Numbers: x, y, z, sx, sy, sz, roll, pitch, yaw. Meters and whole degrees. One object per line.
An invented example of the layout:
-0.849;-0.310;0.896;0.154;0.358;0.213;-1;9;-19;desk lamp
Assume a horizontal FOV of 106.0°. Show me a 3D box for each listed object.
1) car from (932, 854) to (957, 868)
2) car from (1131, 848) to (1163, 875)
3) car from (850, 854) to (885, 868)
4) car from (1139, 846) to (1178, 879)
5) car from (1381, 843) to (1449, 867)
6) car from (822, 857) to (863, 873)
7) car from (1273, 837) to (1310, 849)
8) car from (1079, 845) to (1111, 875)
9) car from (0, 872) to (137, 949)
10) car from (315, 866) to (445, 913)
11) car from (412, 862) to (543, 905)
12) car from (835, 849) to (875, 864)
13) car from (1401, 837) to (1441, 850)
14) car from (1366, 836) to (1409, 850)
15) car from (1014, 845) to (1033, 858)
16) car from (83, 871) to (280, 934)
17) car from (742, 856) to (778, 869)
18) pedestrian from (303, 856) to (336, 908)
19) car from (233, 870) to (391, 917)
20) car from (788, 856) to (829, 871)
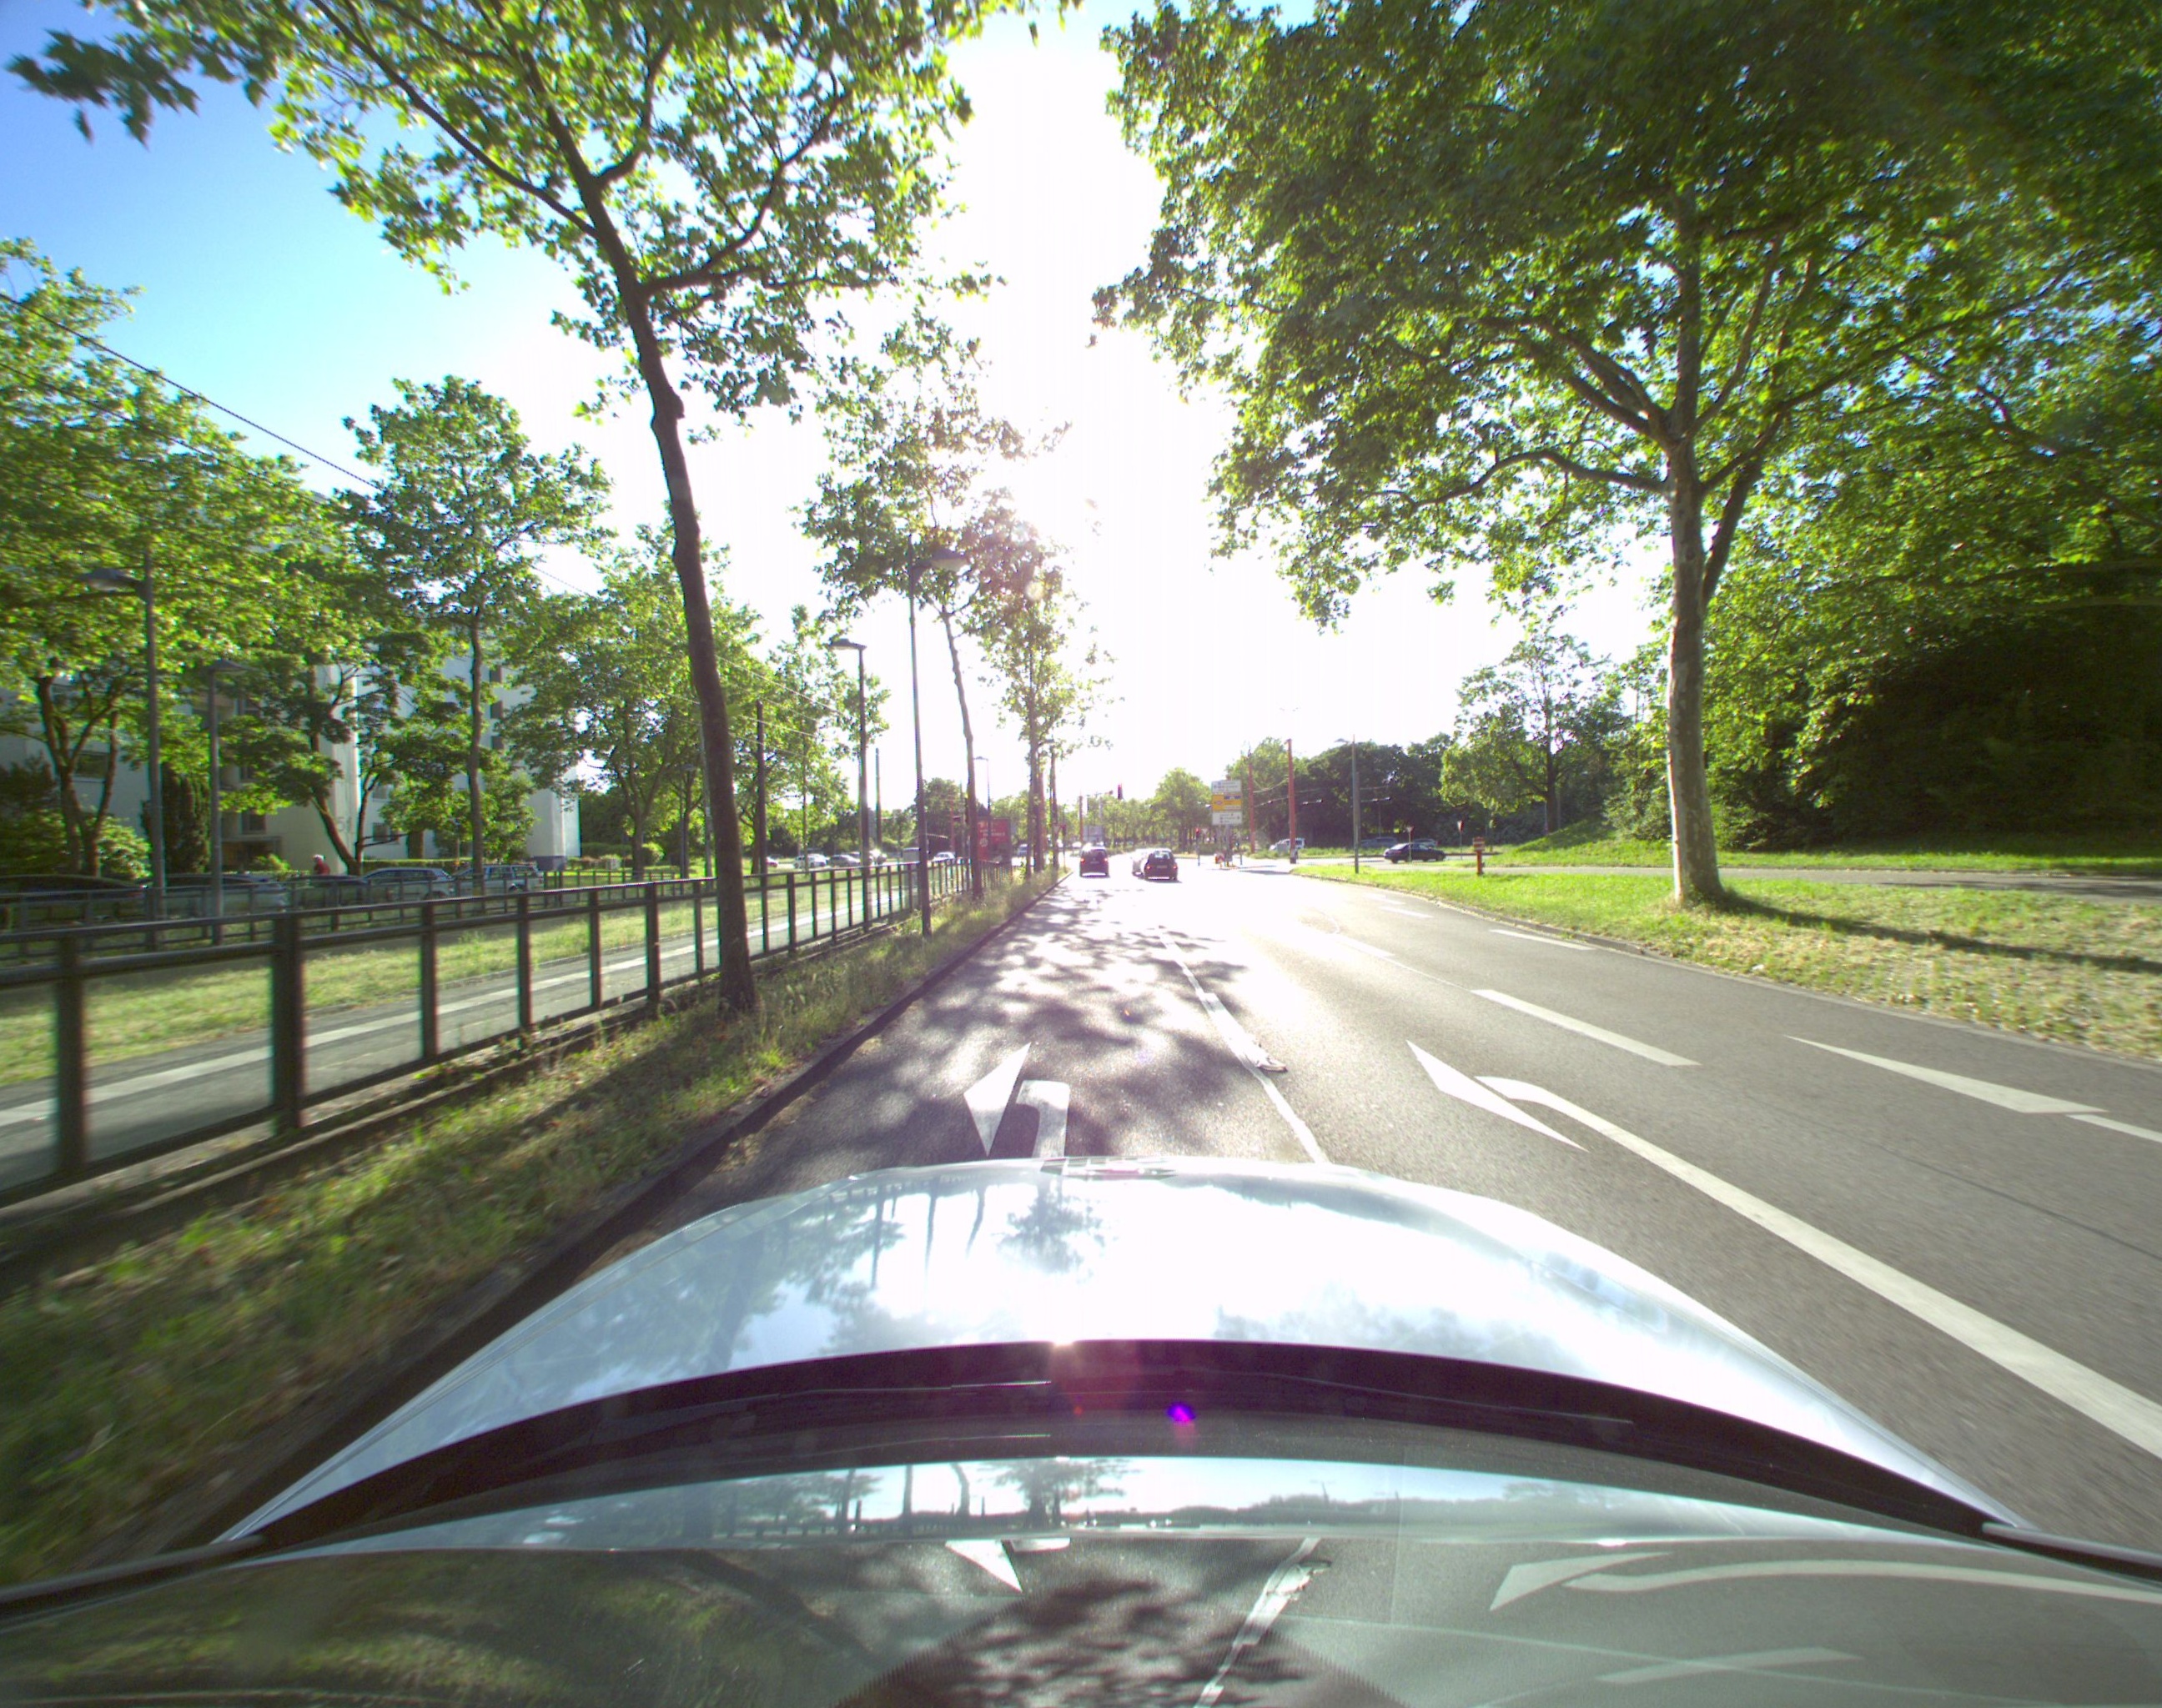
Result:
-14.417;0.759;86.144;1.623;1.449;3.724;0;0;5;car
3.772;0.394;47.038;1.672;1.475;4.133;-1;0;2;car
-28.317;0.913;107.958;3.954;1.621;1.910;-2;0;19;car
3.809;0.393;40.472;1.633;1.494;3.503;0;1;0;car
25.512;0.067;62.229;4.608;1.792;1.977;0;0;-16;car
-28.660;1.299;97.889;4.448;1.610;1.910;-2;3;19;car
24.706;-1.312;95.730;3.950;1.338;1.739;0;0;27;car
0.788;0.340;46.570;1.705;1.603;3.349;-1;0;0;car
-23.545;1.260;18.156;1.447;1.547;3.157;1;2;44;car
-23.909;1.173;27.863;3.304;1.431;1.552;-1;0;-42;car
-23.361;1.092;31.604;3.942;1.476;1.612;-1;0;-42;car
-28.133;0.318;101.523;4.448;1.610;1.910;-2;3;19;car
38.440;-1.182;92.100;3.950;1.495;1.872;0;0;27;car
34.215;-1.206;90.810;4.311;1.559;1.883;0;0;26;car
-8.562;-0.370;122.454;1.812;1.780;4.580;0;0;10;car
-23.558;1.205;21.497;1.521;1.426;3.404;-1;0;44;car
-40.733;1.086;103.291;4.001;1.436;1.825;-2;3;19;car
-26.974;0.986;28.853;0.474;1.792;0.717;0;0;0;pedestrian
-23.393;1.176;24.945;3.401;1.253;1.448;-1;0;-39;car
-33.708;1.200;100.715;4.448;1.611;1.910;-2;1;19;car
